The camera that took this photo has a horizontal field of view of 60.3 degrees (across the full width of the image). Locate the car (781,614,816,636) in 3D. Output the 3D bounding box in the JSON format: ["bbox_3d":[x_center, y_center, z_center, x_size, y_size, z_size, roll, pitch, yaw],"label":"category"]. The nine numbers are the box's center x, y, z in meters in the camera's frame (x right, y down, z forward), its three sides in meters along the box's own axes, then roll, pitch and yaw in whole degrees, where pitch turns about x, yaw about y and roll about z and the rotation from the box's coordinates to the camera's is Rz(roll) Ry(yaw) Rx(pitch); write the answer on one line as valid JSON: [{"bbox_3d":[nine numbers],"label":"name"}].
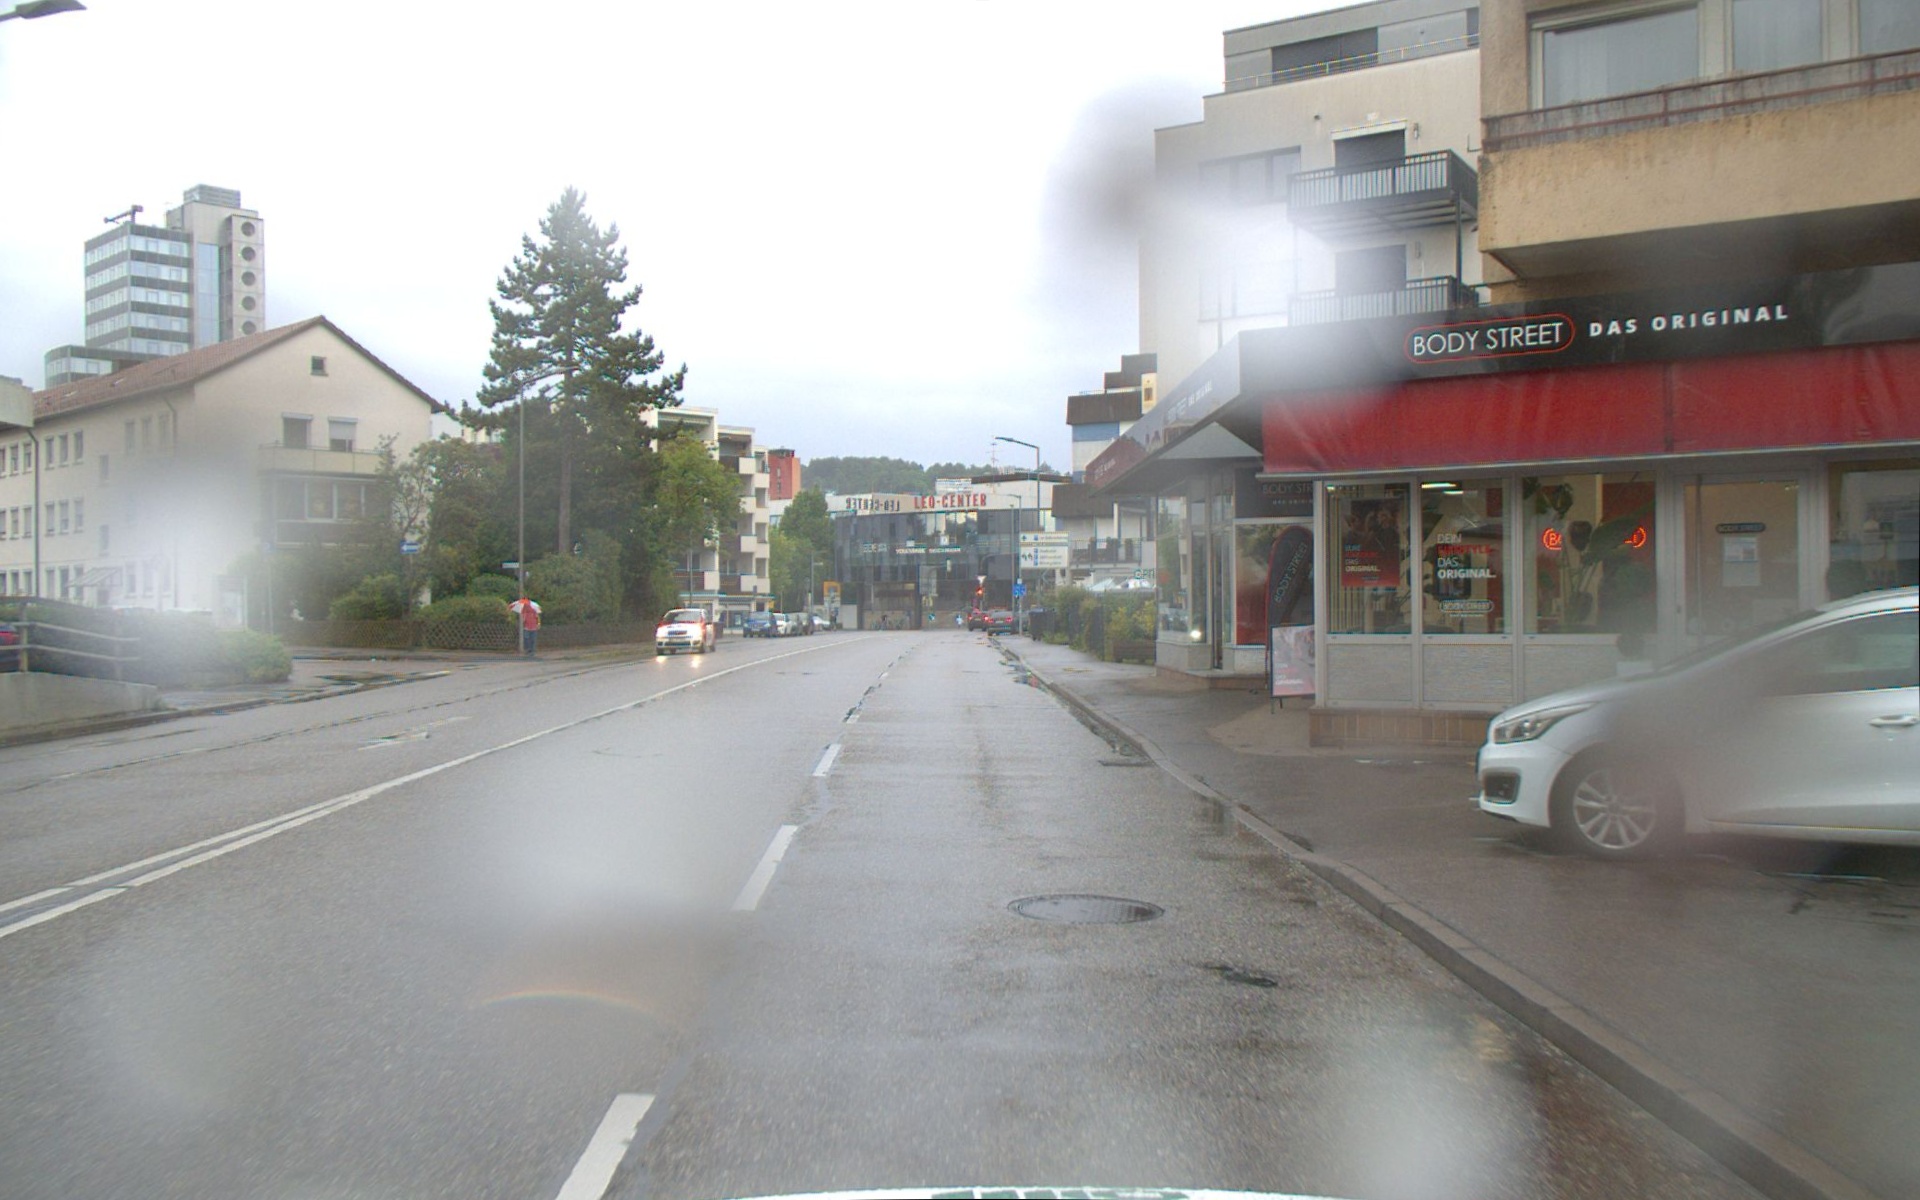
[{"bbox_3d":[-11.369,1.757,116.655,1.894,1.569,4.273,0,-1,2],"label":"car"}]

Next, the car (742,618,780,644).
[{"bbox_3d":[-11.954,1.829,99.470,1.617,1.547,4.325,0,-1,2],"label":"car"}]

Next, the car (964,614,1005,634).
[{"bbox_3d":[1.850,1.761,123.178,1.767,1.444,4.000,-1,-1,20],"label":"car"}]

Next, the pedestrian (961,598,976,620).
[{"bbox_3d":[0.654,0.702,129.856,0.897,1.688,0.749,3,0,-26],"label":"pedestrian"}]

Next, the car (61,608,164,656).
[{"bbox_3d":[-26.960,0.985,52.585,3.755,1.472,1.776,0,-1,43],"label":"car"}]

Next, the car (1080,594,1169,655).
[{"bbox_3d":[5.135,0.753,52.206,1.954,1.817,4.686,0,0,-5],"label":"car"}]

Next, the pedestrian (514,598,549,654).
[{"bbox_3d":[-12.794,0.780,49.392,0.853,1.635,1.101,0,-1,-7],"label":"pedestrian"}]

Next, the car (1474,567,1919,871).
[{"bbox_3d":[5.186,0.587,9.236,4.175,1.520,1.871,1,2,28],"label":"car"}]

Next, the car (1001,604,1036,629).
[{"bbox_3d":[3.912,1.096,109.824,1.662,1.512,4.003,-4,-1,10],"label":"car"}]

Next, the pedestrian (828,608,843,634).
[{"bbox_3d":[-10.032,1.670,133.545,0.733,2.049,0.921,3,-1,22],"label":"pedestrian"}]

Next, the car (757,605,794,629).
[{"bbox_3d":[-11.695,1.058,105.255,1.658,1.490,4.685,0,-1,2],"label":"car"}]

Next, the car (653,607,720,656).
[{"bbox_3d":[-9.130,1.037,55.458,1.664,1.433,3.998,-3,1,-3],"label":"car"}]

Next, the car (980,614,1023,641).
[{"bbox_3d":[2.622,1.740,103.635,1.951,1.561,4.650,0,-2,11],"label":"car"}]

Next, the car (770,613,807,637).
[{"bbox_3d":[-11.461,1.672,110.798,1.894,1.569,4.522,0,-1,2],"label":"car"}]

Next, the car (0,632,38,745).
[{"bbox_3d":[-15.404,1.264,22.704,1.964,1.573,4.445,0,0,41],"label":"car"}]

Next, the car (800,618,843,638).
[{"bbox_3d":[-12.739,2.559,151.714,1.977,1.538,4.379,3,1,-35],"label":"car"}]
